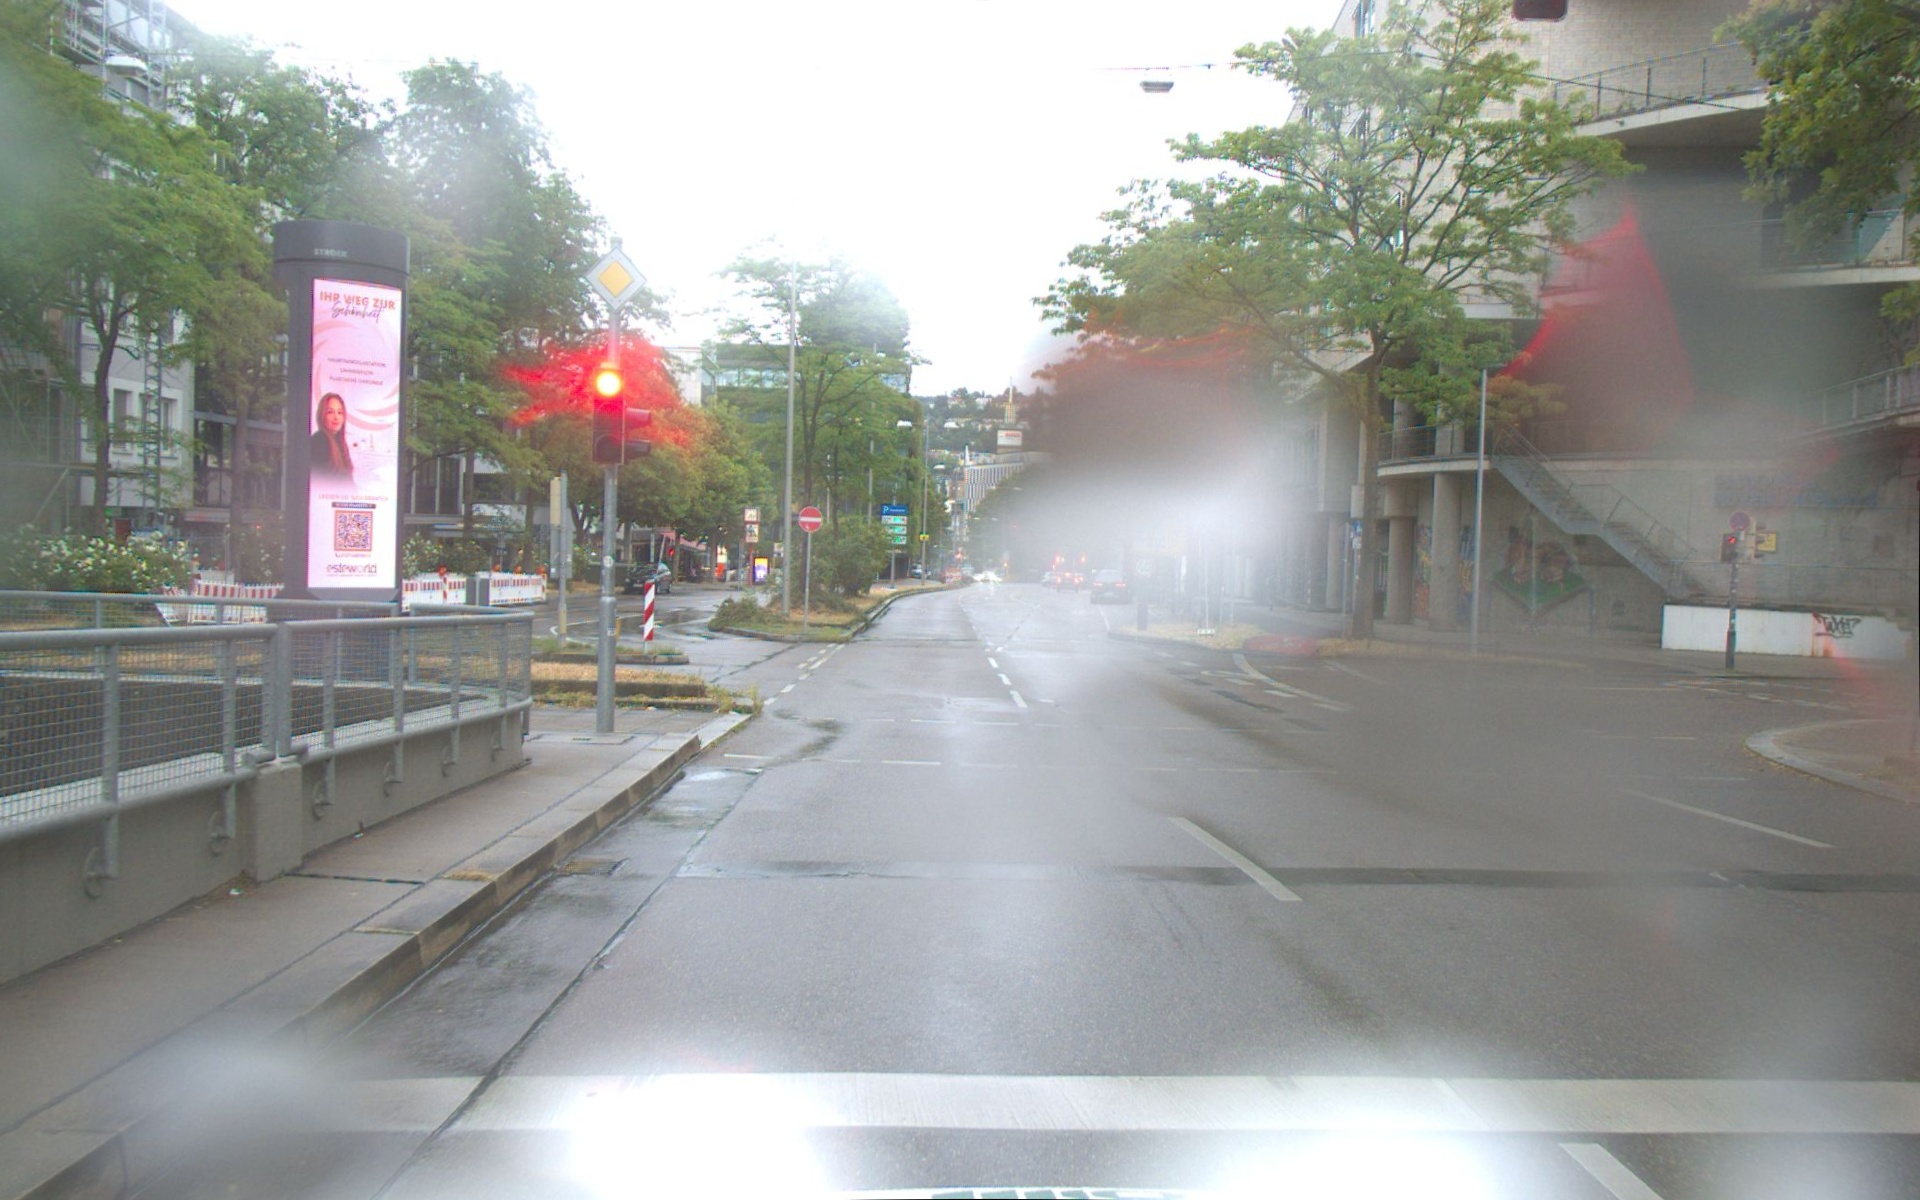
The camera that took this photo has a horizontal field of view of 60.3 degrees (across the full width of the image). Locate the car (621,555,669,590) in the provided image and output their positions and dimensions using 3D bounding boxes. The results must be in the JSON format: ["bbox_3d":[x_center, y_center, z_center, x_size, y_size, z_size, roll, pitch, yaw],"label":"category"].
[{"bbox_3d":[-16.095,-1.426,84.685,1.744,1.582,3.893,2,2,-1],"label":"car"}]

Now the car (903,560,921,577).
[{"bbox_3d":[-6.529,-4.258,225.639,2.084,2.202,5.198,2,0,2],"label":"car"}]

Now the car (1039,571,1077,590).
[{"bbox_3d":[10.870,-2.114,183.550,3.979,1.938,1.951,2,0,-7],"label":"car"}]

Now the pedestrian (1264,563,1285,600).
[{"bbox_3d":[13.618,-0.797,71.680,0.769,1.584,0.533,2,0,4],"label":"pedestrian"}]

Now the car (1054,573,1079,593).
[{"bbox_3d":[8.709,-1.374,135.763,1.710,1.545,4.106,2,0,-1],"label":"car"}]

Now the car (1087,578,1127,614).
[{"bbox_3d":[7.562,-0.224,85.283,1.861,1.713,3.912,2,0,3],"label":"car"}]

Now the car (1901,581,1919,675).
[{"bbox_3d":[19.719,0.587,30.570,4.281,1.713,1.740,2,0,-22],"label":"car"}]
